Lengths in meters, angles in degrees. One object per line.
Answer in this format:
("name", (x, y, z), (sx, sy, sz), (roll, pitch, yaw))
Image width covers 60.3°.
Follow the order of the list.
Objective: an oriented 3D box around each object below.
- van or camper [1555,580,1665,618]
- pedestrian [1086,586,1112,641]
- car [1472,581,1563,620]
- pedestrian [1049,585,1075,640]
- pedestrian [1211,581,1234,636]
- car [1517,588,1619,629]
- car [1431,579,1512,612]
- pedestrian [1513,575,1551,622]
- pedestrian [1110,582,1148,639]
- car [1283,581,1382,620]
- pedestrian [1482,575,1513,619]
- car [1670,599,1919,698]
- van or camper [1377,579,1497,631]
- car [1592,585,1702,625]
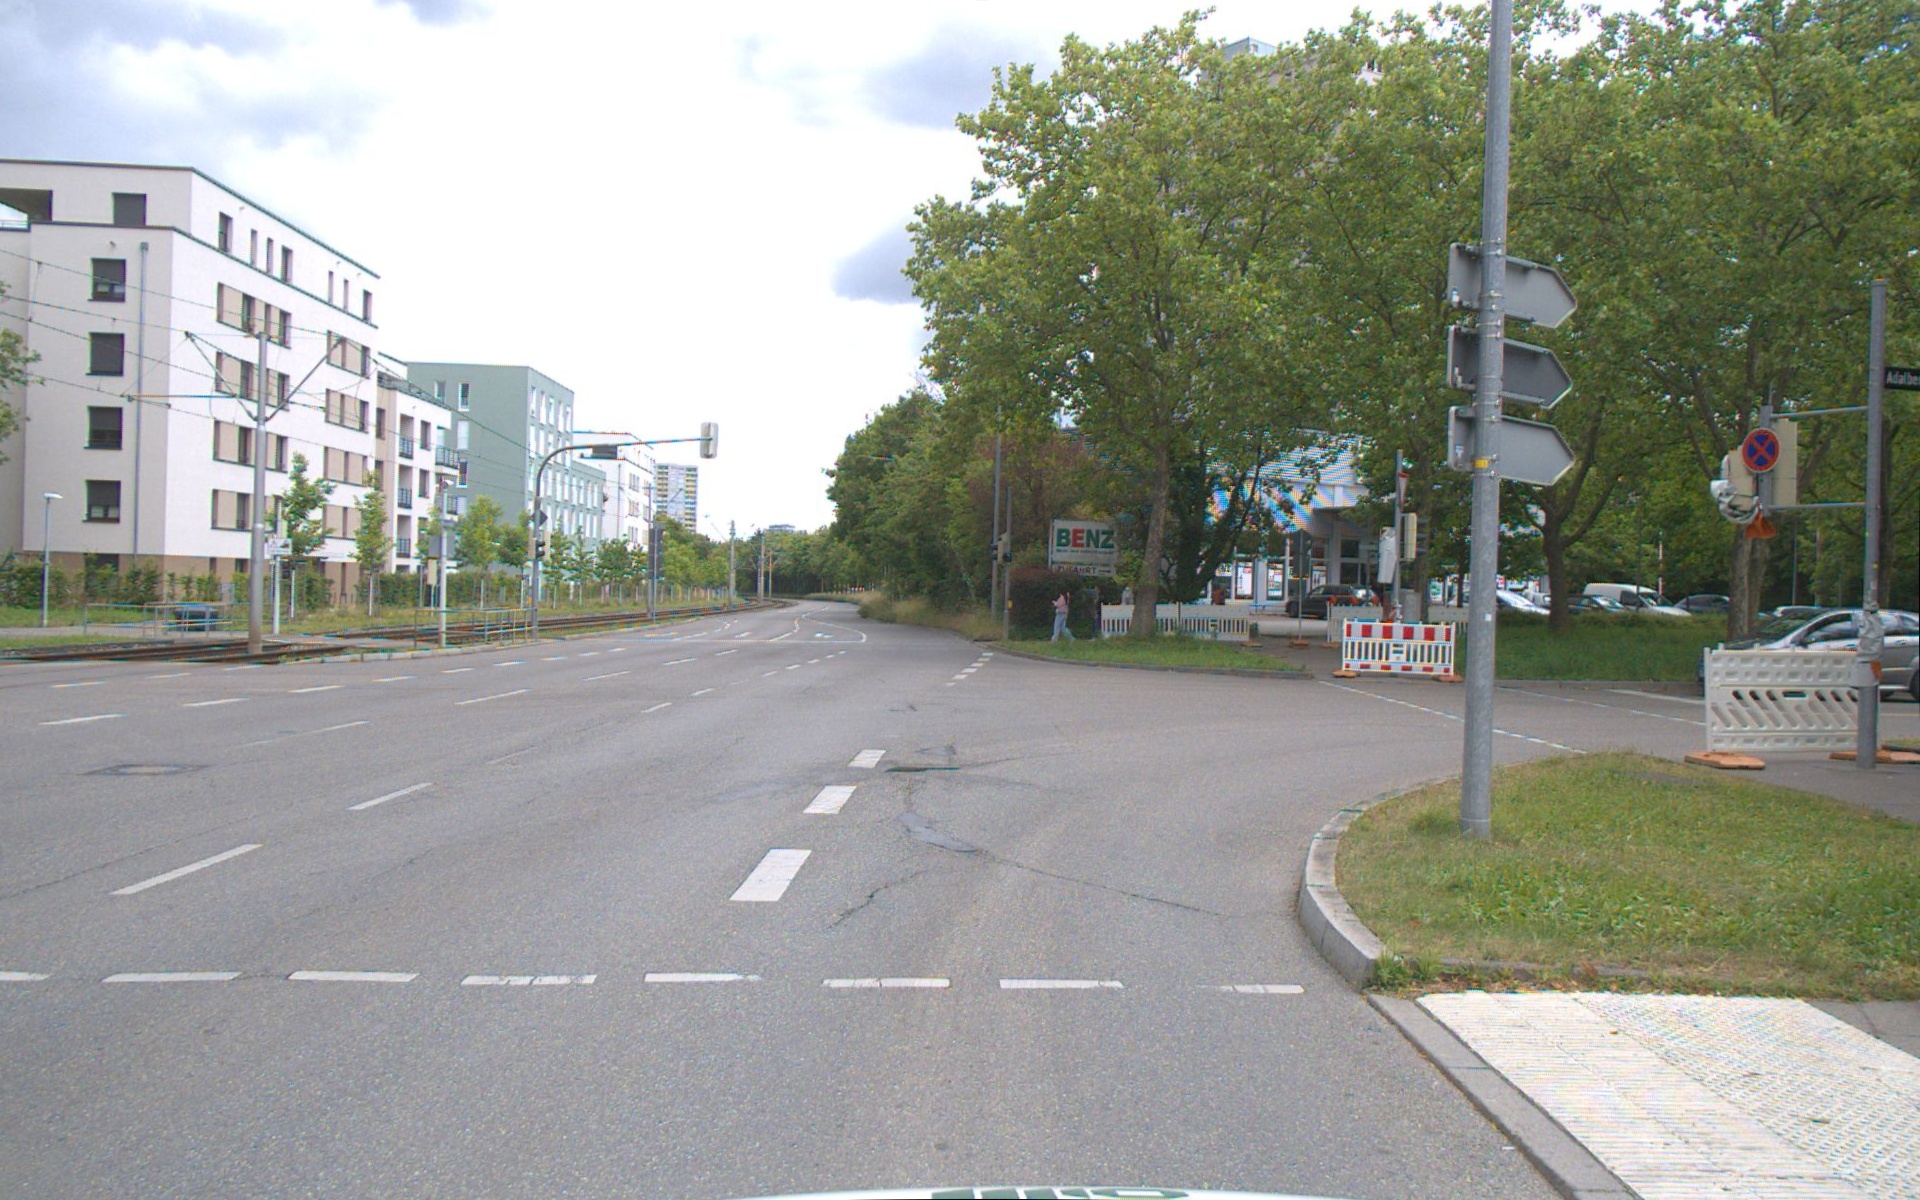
("van or camper", (24.718, -0.028, 63.003), (1.499, 1.380, 3.733), (1, -1, -32))
("pedestrian", (3.873, 0.372, 45.973), (0.682, 1.515, 0.721), (1, -1, 7))
("car", (25.372, 0.016, 75.361), (1.650, 1.663, 3.784), (1, 1, -30))
("pedestrian", (2.829, 0.340, 45.934), (0.682, 1.515, 0.688), (1, -1, 6))
("pedestrian", (7.589, 0.259, 47.811), (0.639, 1.565, 0.773), (1, -1, 8))
("car", (22.176, 0.305, 60.411), (1.463, 1.429, 3.376), (1, -1, -29))
("car", (22.761, -0.182, 73.708), (1.464, 1.429, 3.374), (1, -1, -30))
("pedestrian", (23.542, -0.044, 68.082), (1.057, 1.904, 1.052), (1, -1, -23))
("pedestrian", (4.809, 0.300, 47.044), (0.834, 1.614, 0.793), (1, -1, -16))
("car", (15.263, 0.027, 68.006), (1.707, 1.526, 4.233), (1, -1, -26))
("pedestrian", (19.714, -0.111, 60.684), (0.778, 1.614, 0.798), (1, -1, -8))
("car", (14.990, 0.842, 29.004), (4.306, 1.614, 1.773), (1, -1, 1))
("van or camper", (16.524, 0.151, 57.485), (1.818, 1.713, 3.965), (0, 0, -27))
("car", (26.684, 0.198, 64.334), (1.464, 1.491, 3.853), (1, -1, -30))
